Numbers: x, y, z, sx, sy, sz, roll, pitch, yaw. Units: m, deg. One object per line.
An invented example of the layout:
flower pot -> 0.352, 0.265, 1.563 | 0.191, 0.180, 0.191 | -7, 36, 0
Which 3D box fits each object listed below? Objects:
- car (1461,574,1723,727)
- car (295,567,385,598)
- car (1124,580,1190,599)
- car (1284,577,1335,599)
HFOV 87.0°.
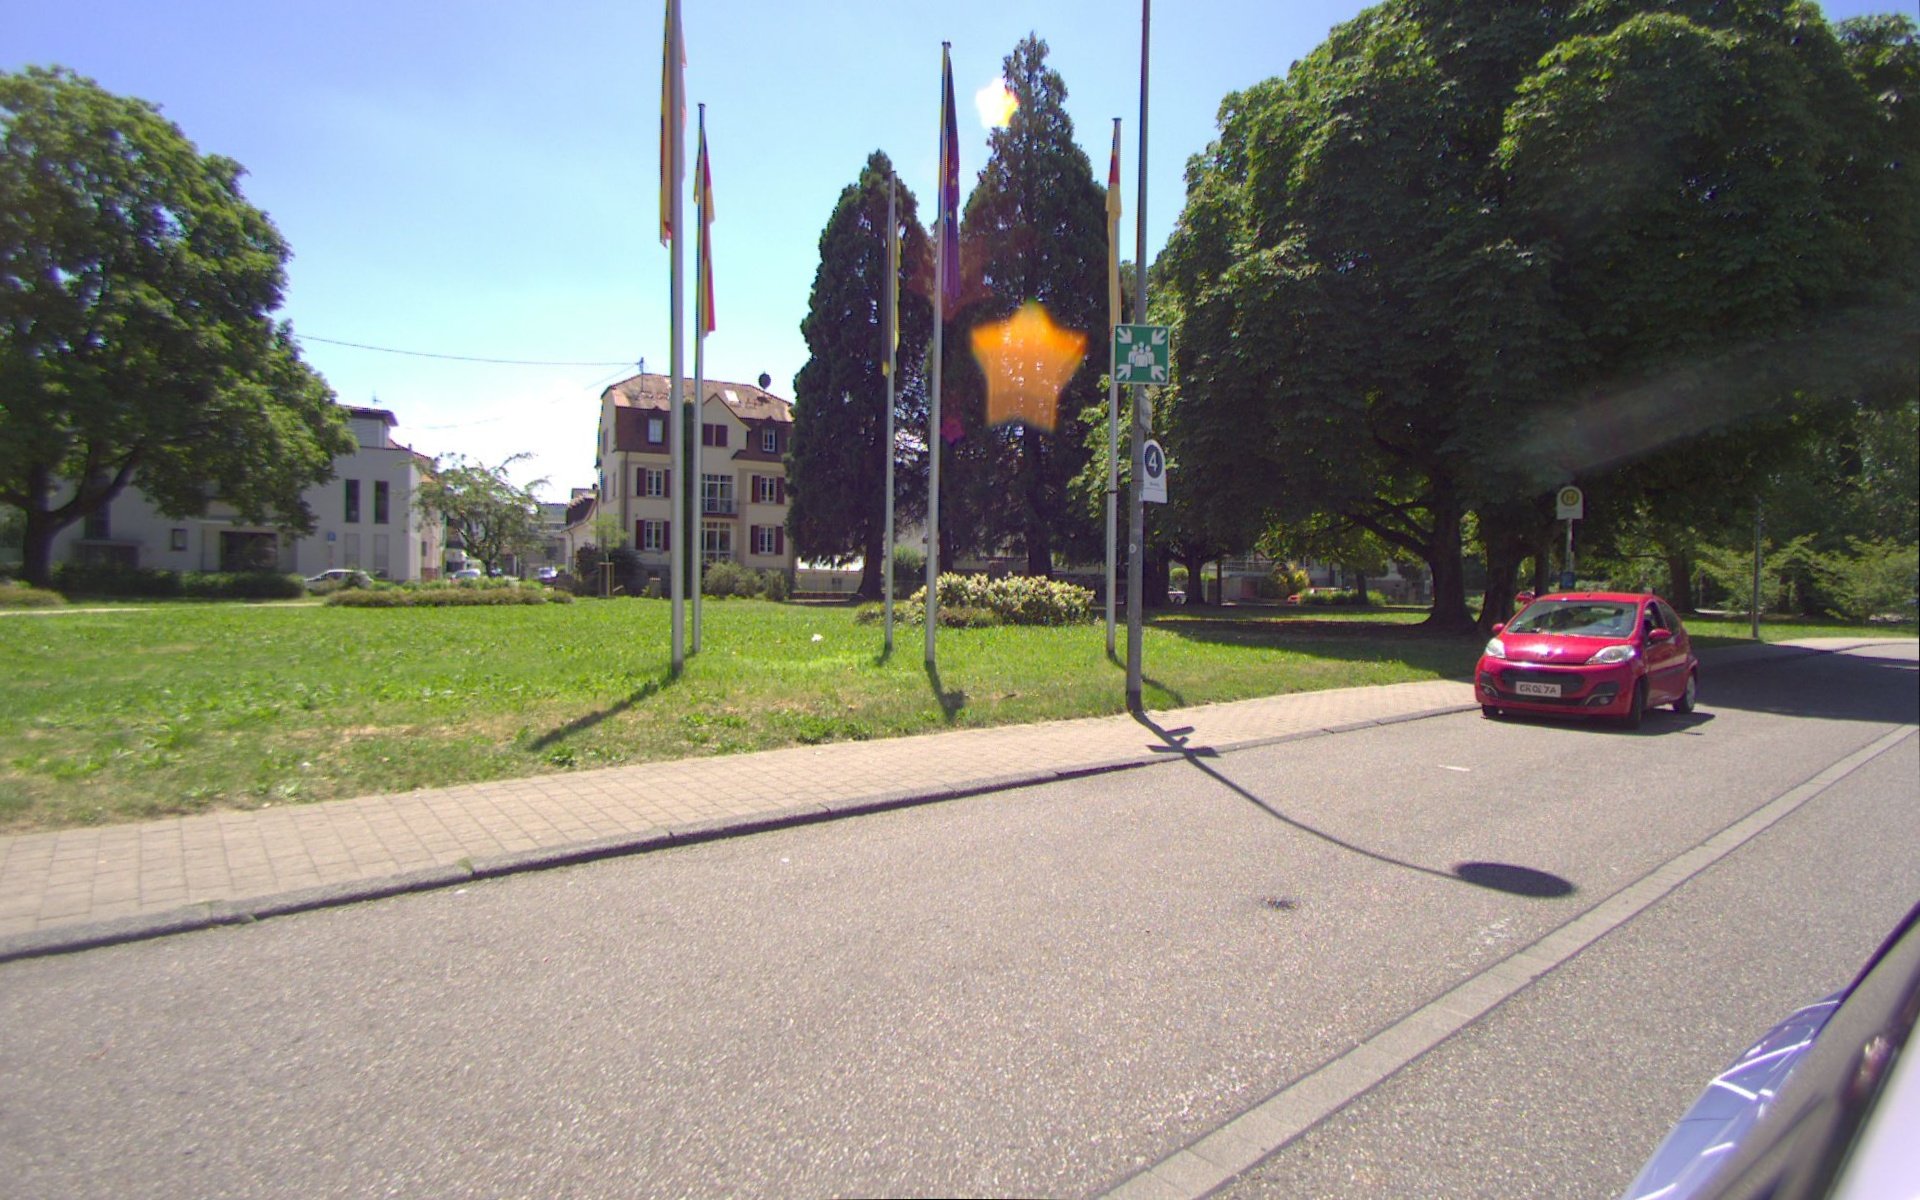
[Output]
car -> 7.582, 0.473, 12.018 | 3.643, 1.496, 1.721 | -1, 2, -43
car -> -30.011, -0.861, 49.099 | 3.630, 1.450, 1.468 | 0, 2, -27
car -> 14.309, -0.782, 73.639 | 4.618, 1.303, 1.674 | -1, 3, -26
car -> 27.827, -0.996, 80.624 | 3.921, 1.619, 1.705 | -2, 3, -30
